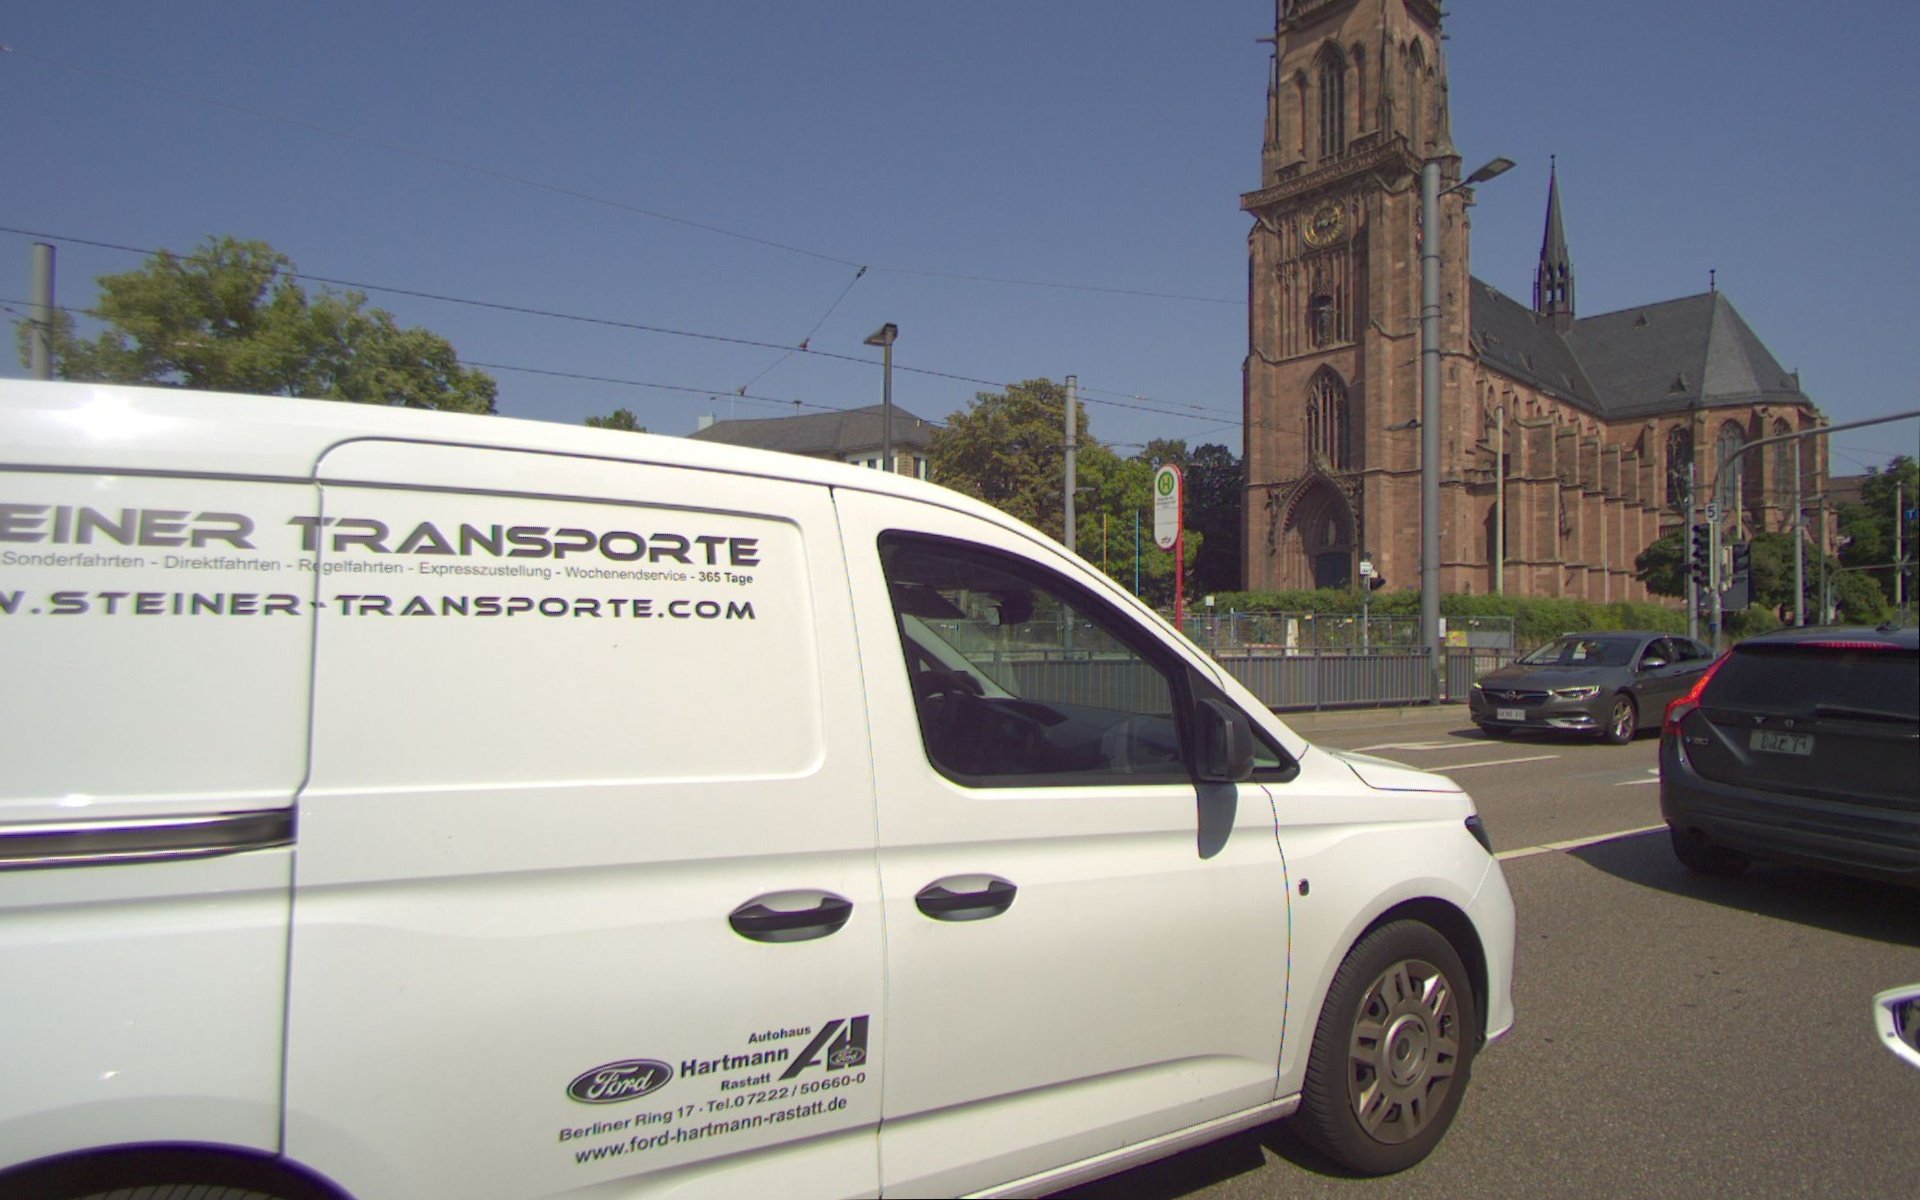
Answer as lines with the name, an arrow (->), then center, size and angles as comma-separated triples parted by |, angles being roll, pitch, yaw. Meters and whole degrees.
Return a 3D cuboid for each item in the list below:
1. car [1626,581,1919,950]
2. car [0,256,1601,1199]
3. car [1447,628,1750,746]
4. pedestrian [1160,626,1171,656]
car -> 5.926, 0.768, 5.831 | 4.257, 1.636, 1.739 | 1, 0, -30
car -> -0.323, 0.539, 2.706 | 4.189, 1.844, 1.739 | 1, -1, -30
car -> 9.134, 1.146, 14.279 | 4.519, 1.454, 1.738 | 1, -3, -30
pedestrian -> 10.824, 2.148, 52.947 | 0.533, 1.551, 0.436 | 0, -1, 5
